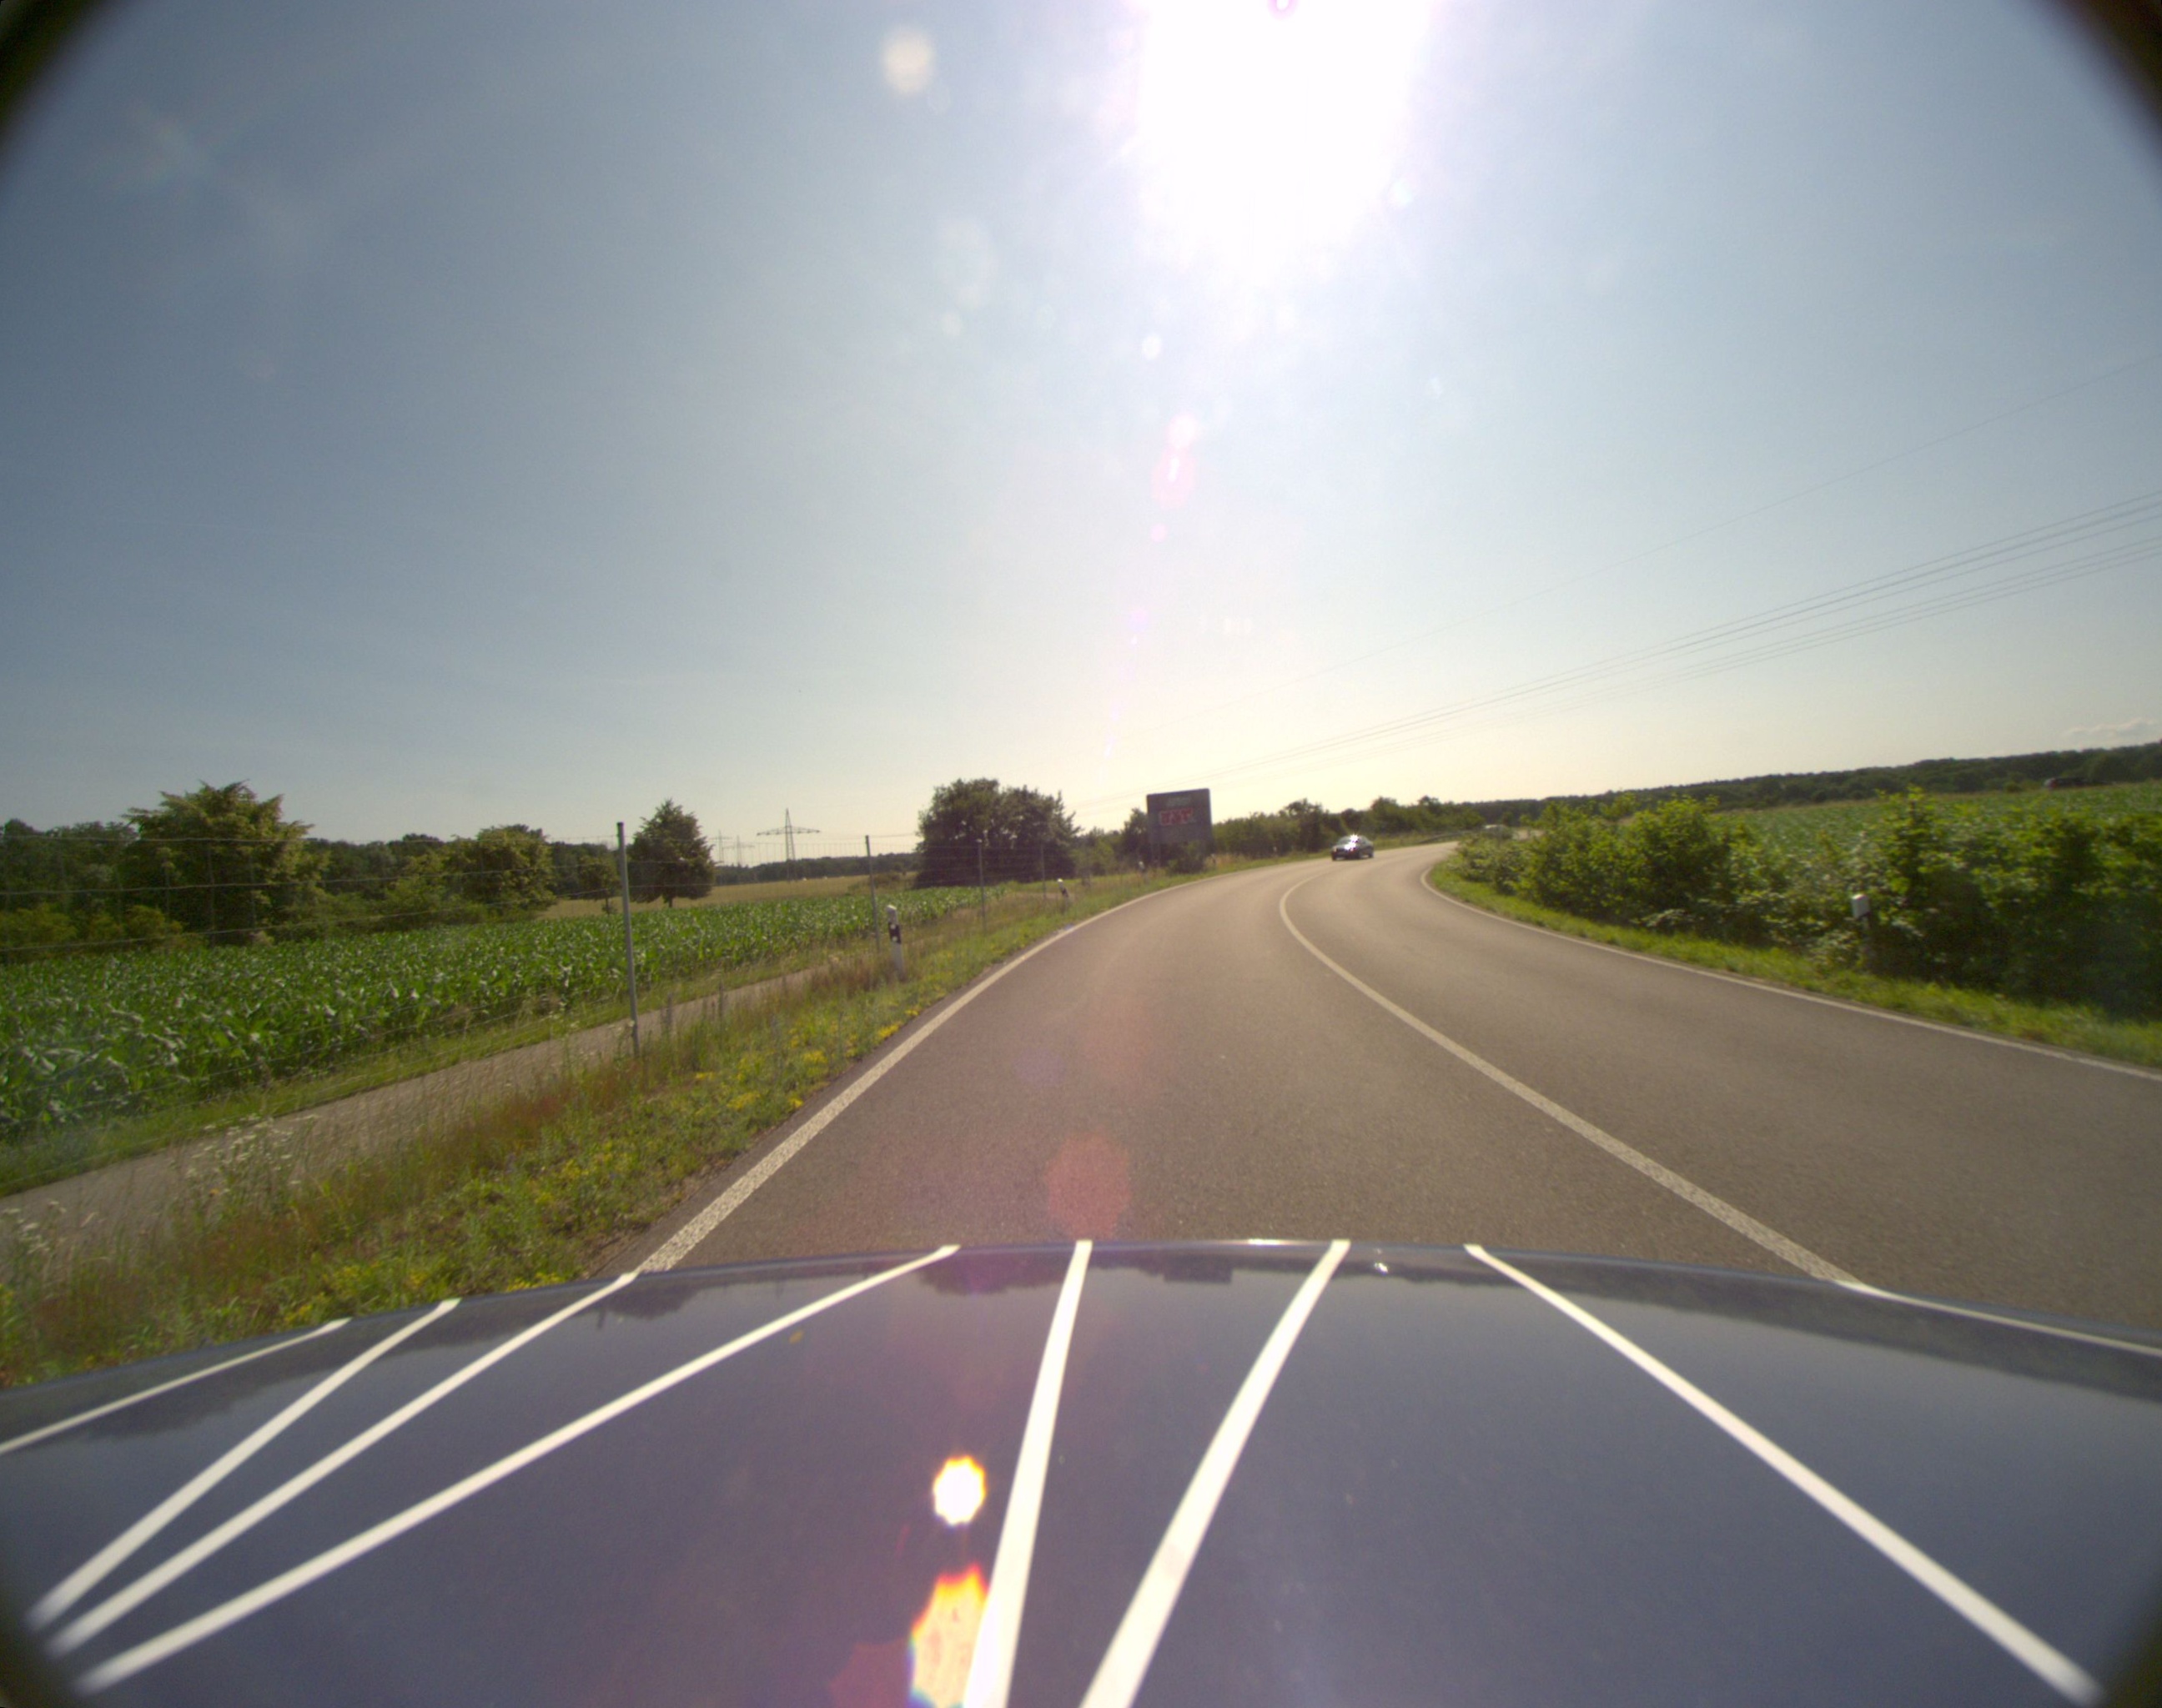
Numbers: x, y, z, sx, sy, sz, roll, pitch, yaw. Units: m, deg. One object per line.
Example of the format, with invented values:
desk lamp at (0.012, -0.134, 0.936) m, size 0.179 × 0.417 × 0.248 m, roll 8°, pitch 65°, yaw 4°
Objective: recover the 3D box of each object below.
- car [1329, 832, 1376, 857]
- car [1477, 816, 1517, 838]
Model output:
car at (17.004, -0.594, 47.497) m, size 1.882 × 1.448 × 4.083 m, roll -1°, pitch 0°, yaw 32°
car at (34.289, -2.231, 62.538) m, size 1.867 × 1.473 × 5.143 m, roll -1°, pitch 4°, yaw 40°
